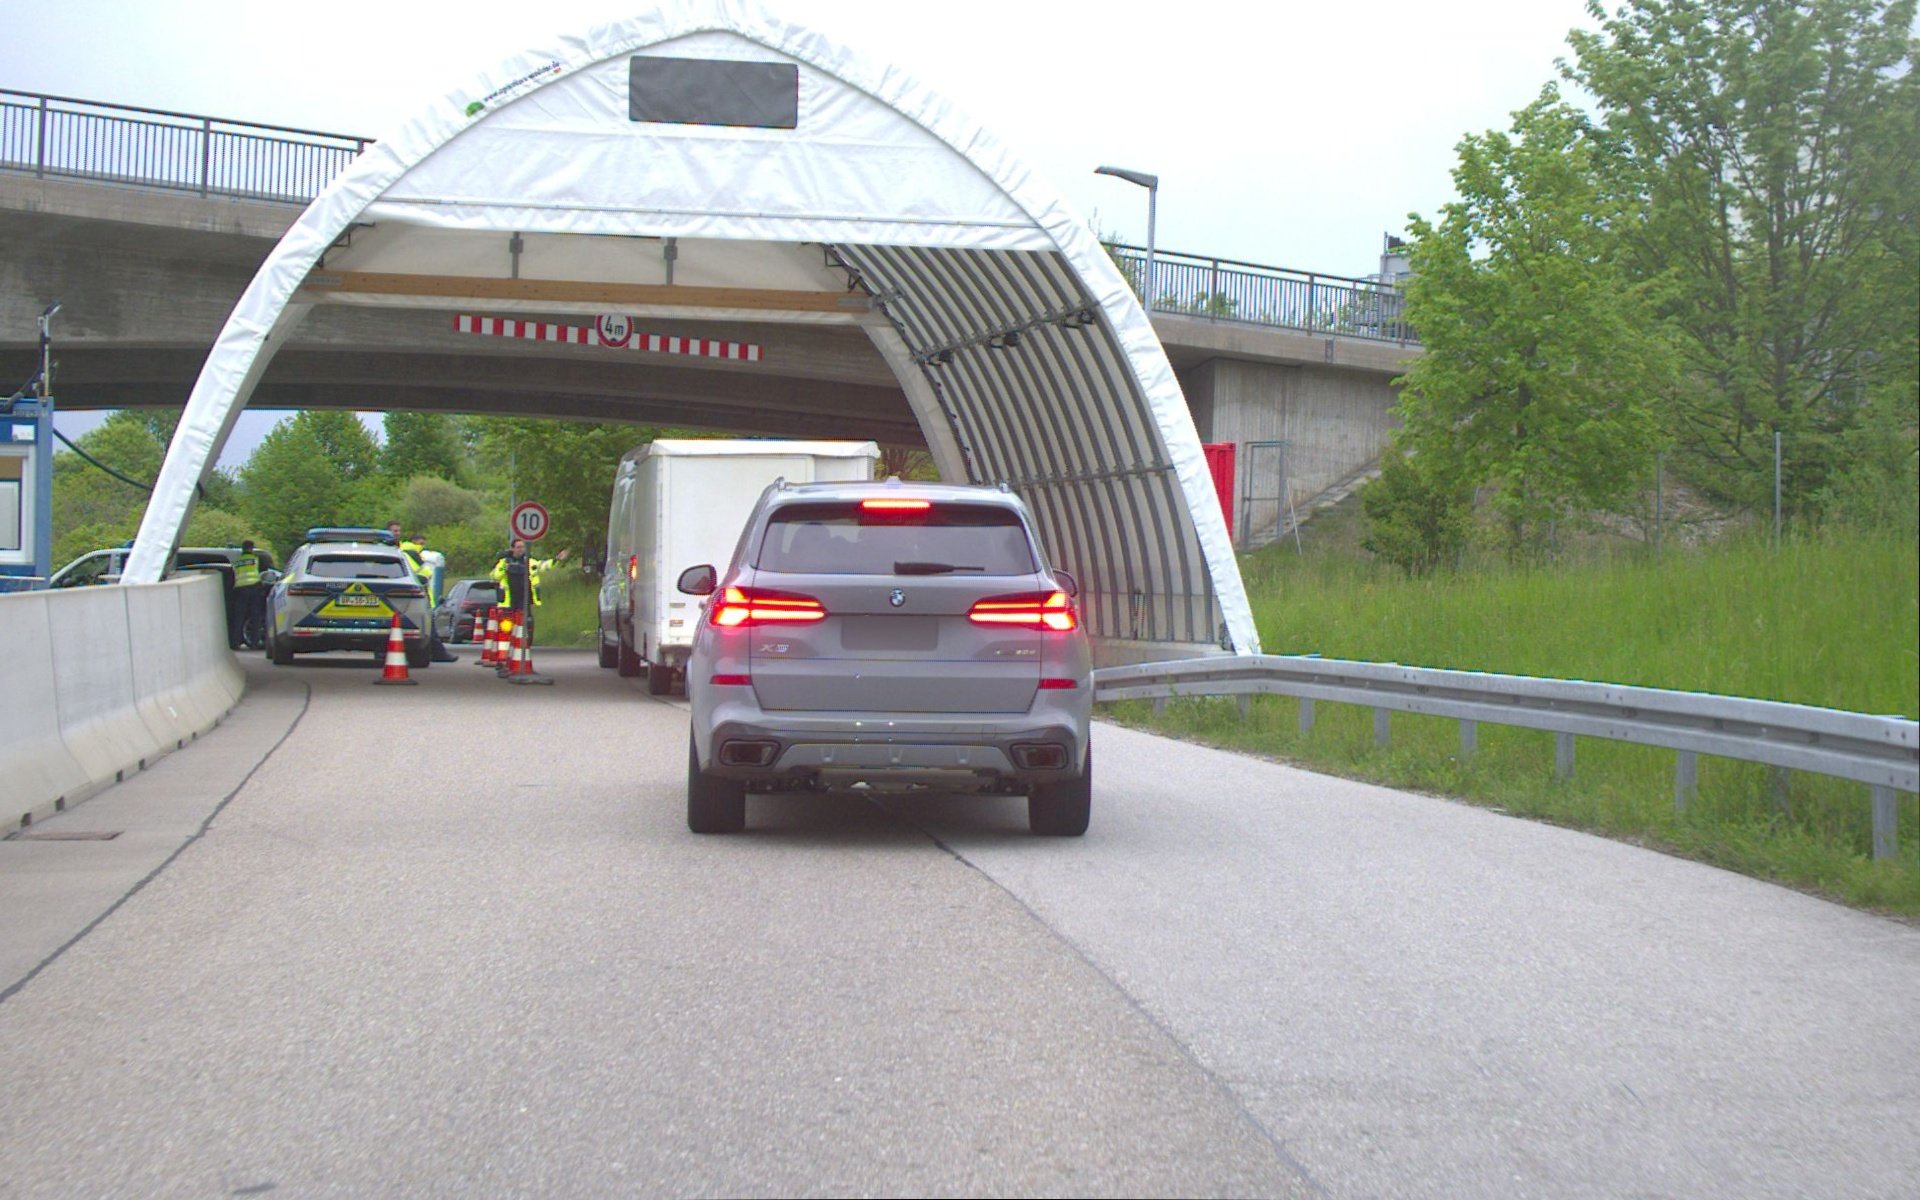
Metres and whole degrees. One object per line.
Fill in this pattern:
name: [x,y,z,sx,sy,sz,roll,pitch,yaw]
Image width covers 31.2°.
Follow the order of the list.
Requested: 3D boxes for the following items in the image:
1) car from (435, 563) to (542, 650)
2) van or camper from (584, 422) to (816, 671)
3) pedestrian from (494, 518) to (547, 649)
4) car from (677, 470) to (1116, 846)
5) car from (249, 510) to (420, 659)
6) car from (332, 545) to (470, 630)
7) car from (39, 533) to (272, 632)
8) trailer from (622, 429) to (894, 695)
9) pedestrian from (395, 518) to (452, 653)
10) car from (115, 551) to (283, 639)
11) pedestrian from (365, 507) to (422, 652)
car: [-10.299,0.119,74.908,1.703,1.848,4.001,0,0,-17]
van or camper: [-3.219,-0.584,41.308,2.156,2.754,5.873,1,0,-10]
pedestrian: [-5.971,-0.220,46.684,0.648,1.769,0.606,0,0,-13]
car: [-0.451,0.267,17.836,1.993,1.714,4.001,1,0,-5]
car: [-7.826,-0.192,42.794,1.993,1.766,3.766,0,0,-12]
car: [-13.703,-0.316,84.171,1.993,2.007,4.000,0,0,-31]
car: [-15.248,-0.343,65.286,3.987,1.848,1.709,0,0,4]
trailer: [-2.184,-0.333,35.015,2.278,2.422,6.818,1,0,-7]
pedestrian: [-7.072,-0.191,45.297,0.720,1.769,0.690,0,0,-11]
car: [-12.794,-0.101,57.694,1.515,1.437,3.315,0,0,-37]
pedestrian: [-7.639,-0.280,46.335,0.720,1.939,0.690,0,0,-11]
